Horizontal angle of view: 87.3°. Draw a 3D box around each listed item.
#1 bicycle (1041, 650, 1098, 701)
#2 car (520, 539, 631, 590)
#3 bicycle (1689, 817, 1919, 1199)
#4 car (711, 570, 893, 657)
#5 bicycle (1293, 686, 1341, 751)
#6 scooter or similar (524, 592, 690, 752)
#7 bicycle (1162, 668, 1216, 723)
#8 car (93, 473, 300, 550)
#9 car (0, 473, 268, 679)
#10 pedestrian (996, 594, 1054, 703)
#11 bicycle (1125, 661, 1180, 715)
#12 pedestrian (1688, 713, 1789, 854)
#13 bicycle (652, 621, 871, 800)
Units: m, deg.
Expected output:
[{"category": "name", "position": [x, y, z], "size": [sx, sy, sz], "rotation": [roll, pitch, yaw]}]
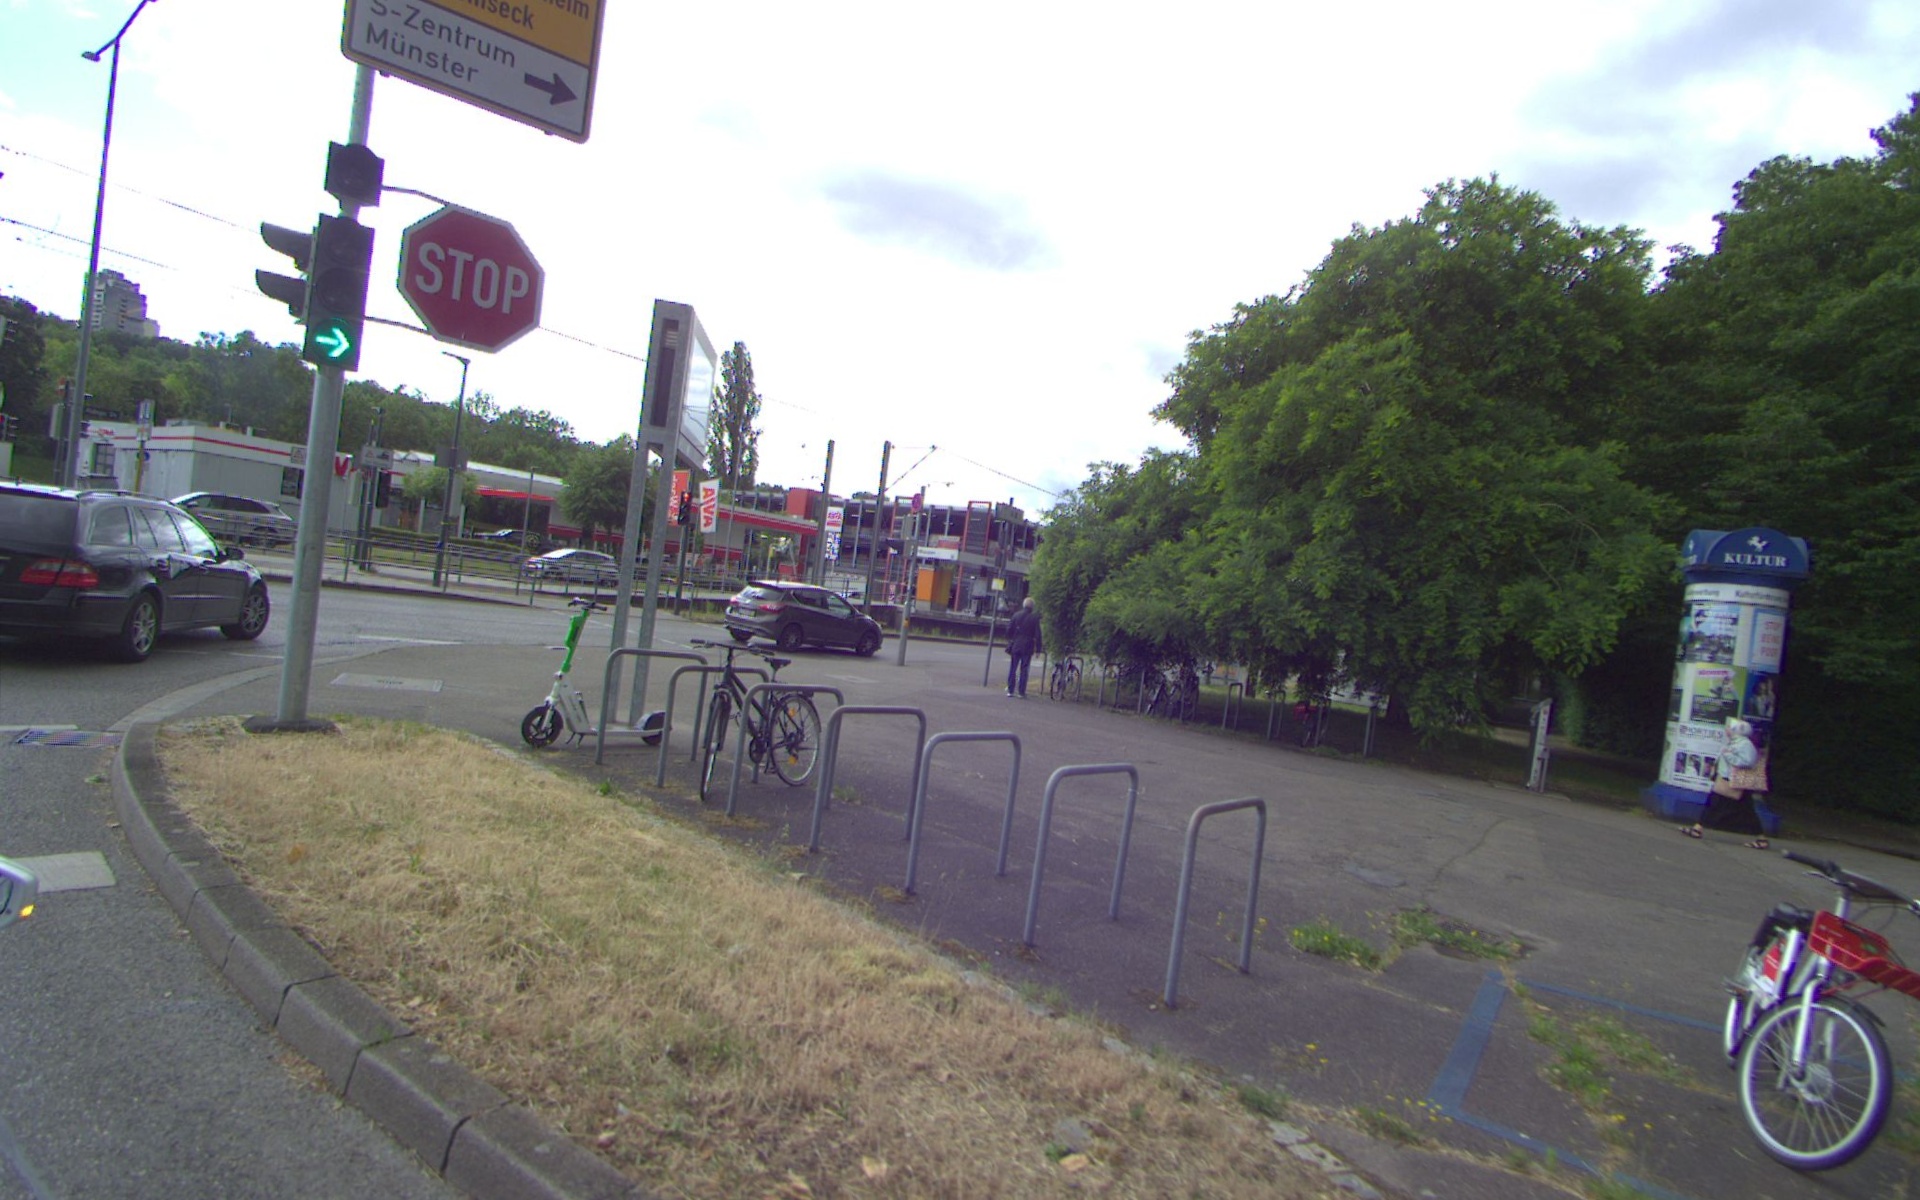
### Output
[{"category": "bicycle", "position": [2.146, 1.469, 19.526], "size": [0.353, 0.909, 1.719], "rotation": [8, 0, 30]}, {"category": "car", "position": [-16.304, -1.472, 42.792], "size": [1.694, 1.549, 4.027], "rotation": [8, 0, 38]}, {"category": "bicycle", "position": [3.561, 1.607, 4.180], "size": [0.544, 1.124, 1.782], "rotation": [7, -1, 30]}, {"category": "car", "position": [-3.598, 0.363, 23.609], "size": [1.705, 1.548, 4.138], "rotation": [8, 0, 34]}, {"category": "bicycle", "position": [6.075, 1.986, 17.068], "size": [0.369, 1.003, 1.719], "rotation": [8, 0, 30]}, {"category": "scooter or similar", "position": [-2.815, 0.595, 8.118], "size": [0.289, 1.184, 1.181], "rotation": [8, 1, 37]}, {"category": "bicycle", "position": [4.206, 1.741, 18.403], "size": [0.369, 0.909, 1.719], "rotation": [8, 0, 30]}, {"category": "car", "position": [-24.471, -2.797, 32.408], "size": [1.986, 1.620, 4.919], "rotation": [8, 0, 40]}, {"category": "car", "position": [-8.552, -0.357, 9.684], "size": [1.802, 1.528, 4.554], "rotation": [8, 0, -19]}, {"category": "pedestrian", "position": [1.181, 0.859, 18.159], "size": [0.762, 1.841, 0.689], "rotation": [8, 1, 7]}, {"category": "bicycle", "position": [3.623, 1.625, 18.837], "size": [0.369, 0.910, 1.717], "rotation": [8, 2, 30]}, {"category": "pedestrian", "position": [9.556, 2.230, 12.382], "size": [0.765, 1.550, 0.511], "rotation": [8, 1, 32]}, {"category": "bicycle", "position": [-1.413, 0.796, 7.495], "size": [0.471, 1.124, 1.692], "rotation": [10, 1, 30]}]
